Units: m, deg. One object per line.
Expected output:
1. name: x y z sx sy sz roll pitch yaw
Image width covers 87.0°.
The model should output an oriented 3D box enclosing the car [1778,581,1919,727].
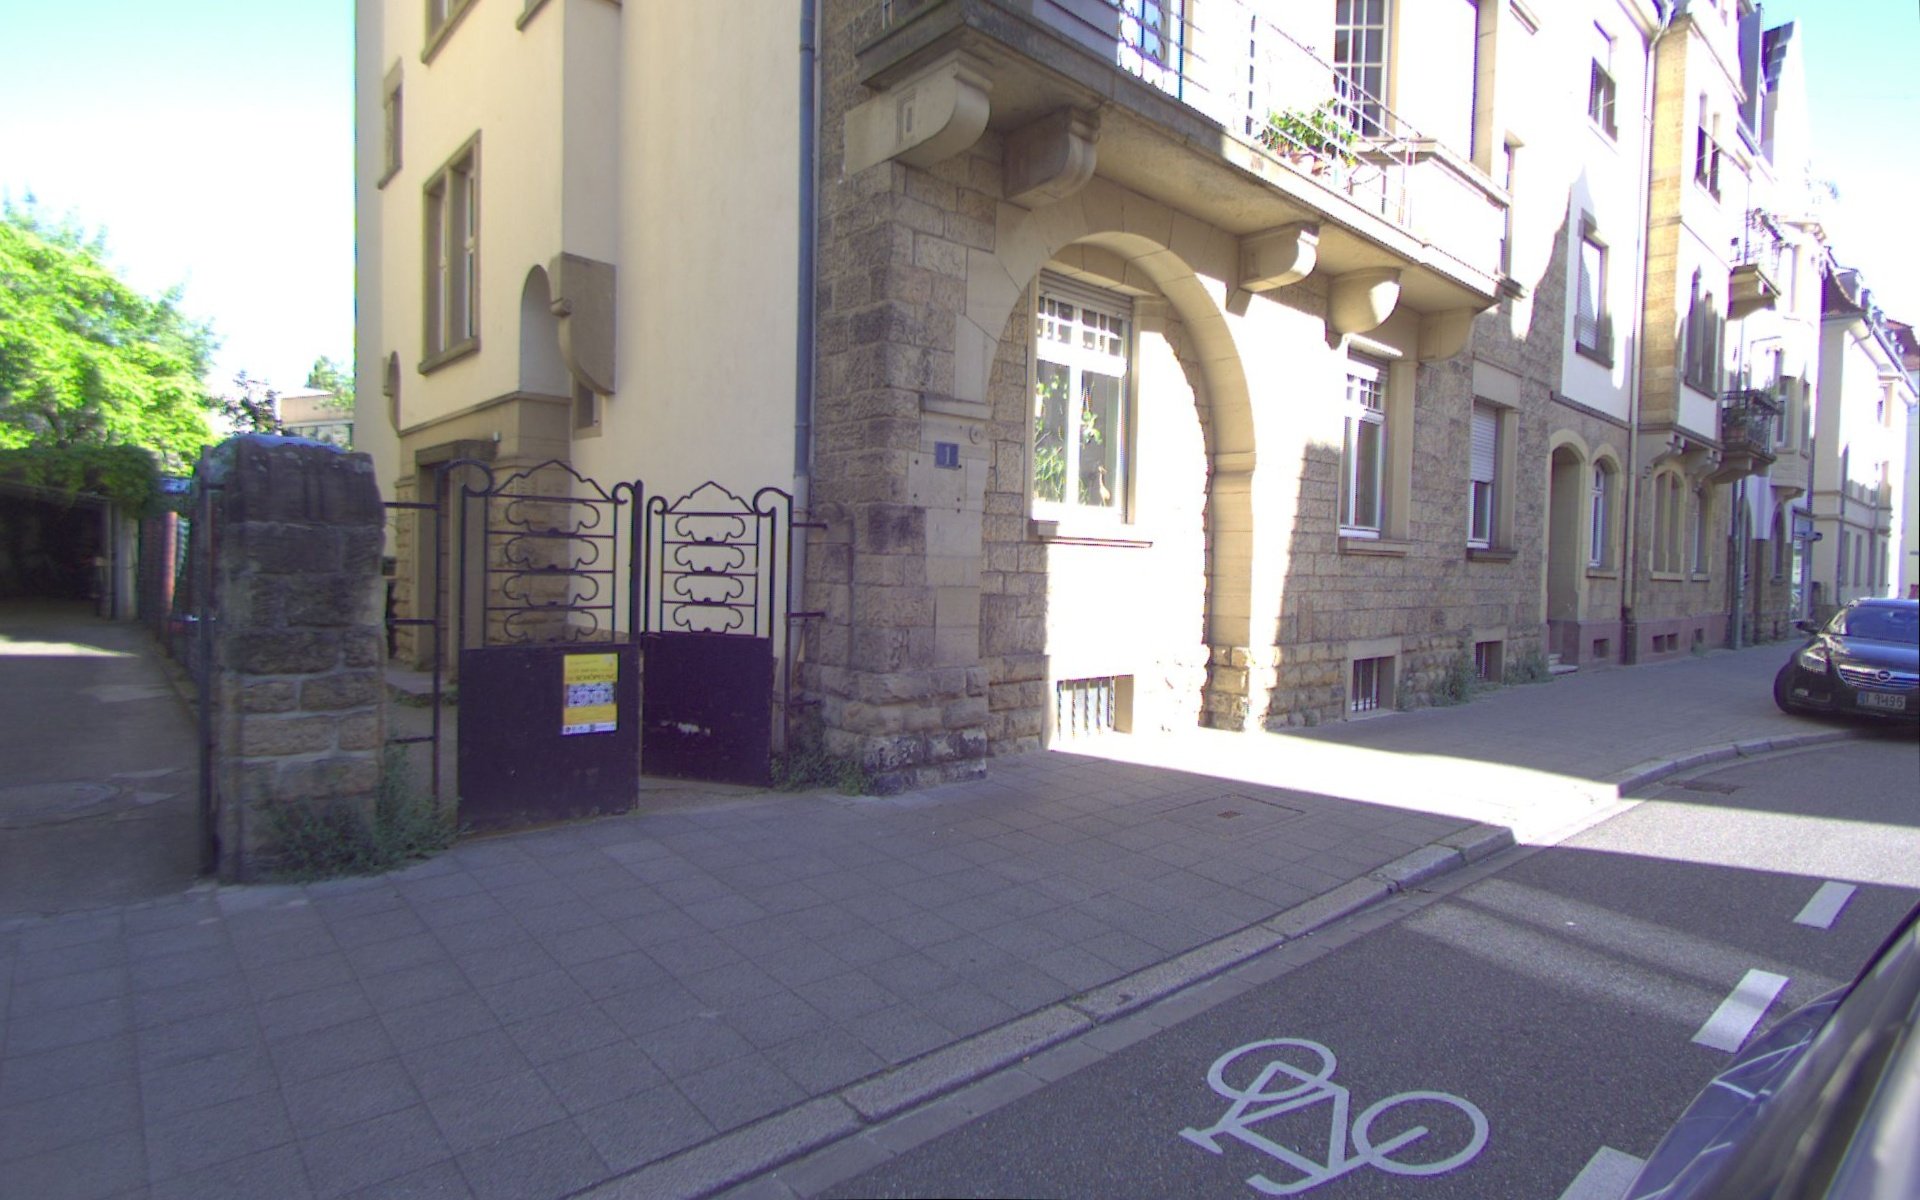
1. car: 11.476 0.568 12.199 4.265 1.480 1.869 0 3 -42

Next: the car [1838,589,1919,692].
1. car: 15.463 0.596 16.193 4.186 1.460 1.654 0 3 -43

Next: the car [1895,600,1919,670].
1. car: 19.498 0.667 19.740 1.694 1.270 3.877 3 2 45

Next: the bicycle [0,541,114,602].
1. bicycle: -18.368 -0.605 20.450 2.834 1.124 0.865 3 2 25

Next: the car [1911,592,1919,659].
1. car: 22.380 0.569 22.436 1.787 1.447 3.746 3 2 44
